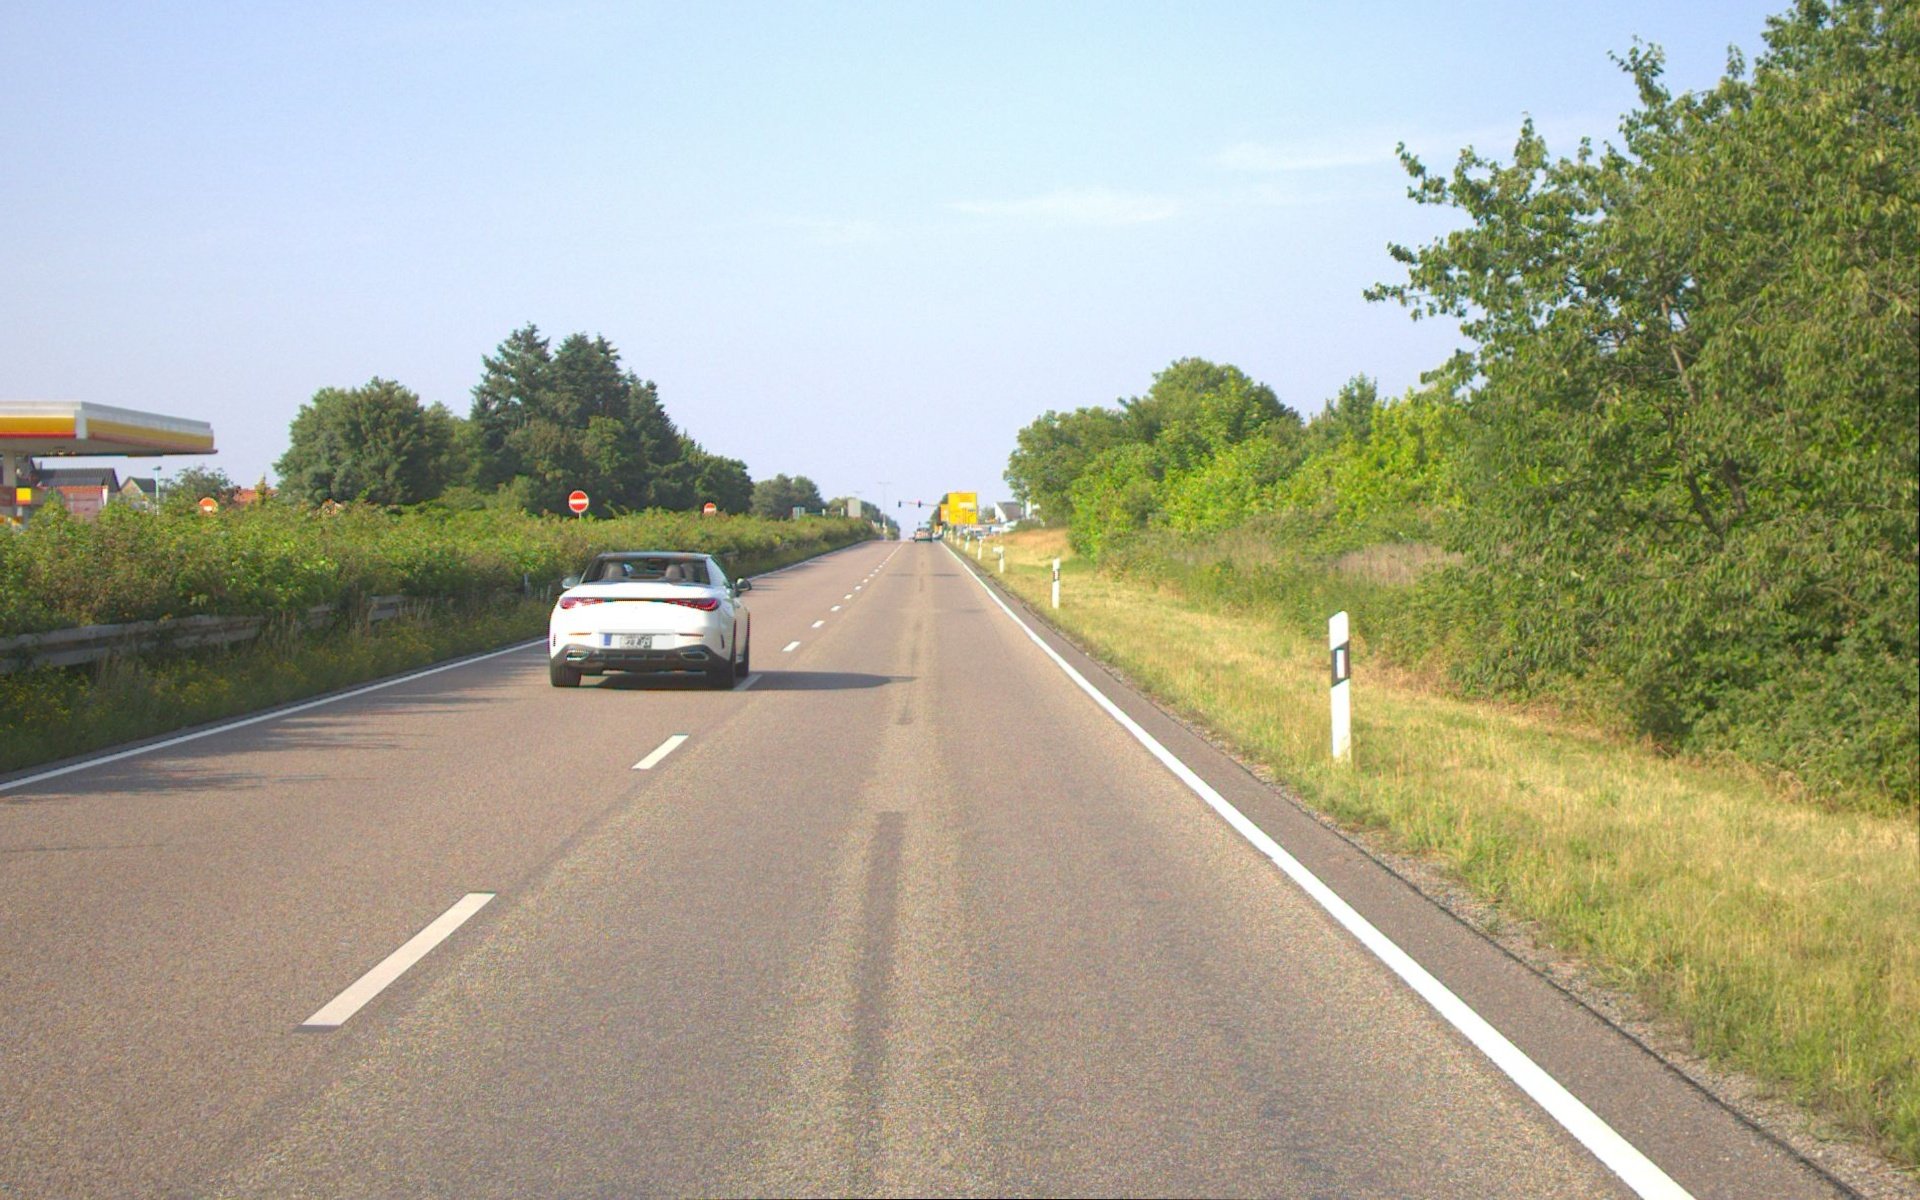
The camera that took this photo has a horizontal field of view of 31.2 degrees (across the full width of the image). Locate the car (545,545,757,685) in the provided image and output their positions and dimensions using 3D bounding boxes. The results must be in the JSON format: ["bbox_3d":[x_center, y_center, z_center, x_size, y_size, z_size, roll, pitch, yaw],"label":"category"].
[{"bbox_3d":[-3.174,0.114,36.139,1.771,1.333,4.950,1,1,0],"label":"car"}]
